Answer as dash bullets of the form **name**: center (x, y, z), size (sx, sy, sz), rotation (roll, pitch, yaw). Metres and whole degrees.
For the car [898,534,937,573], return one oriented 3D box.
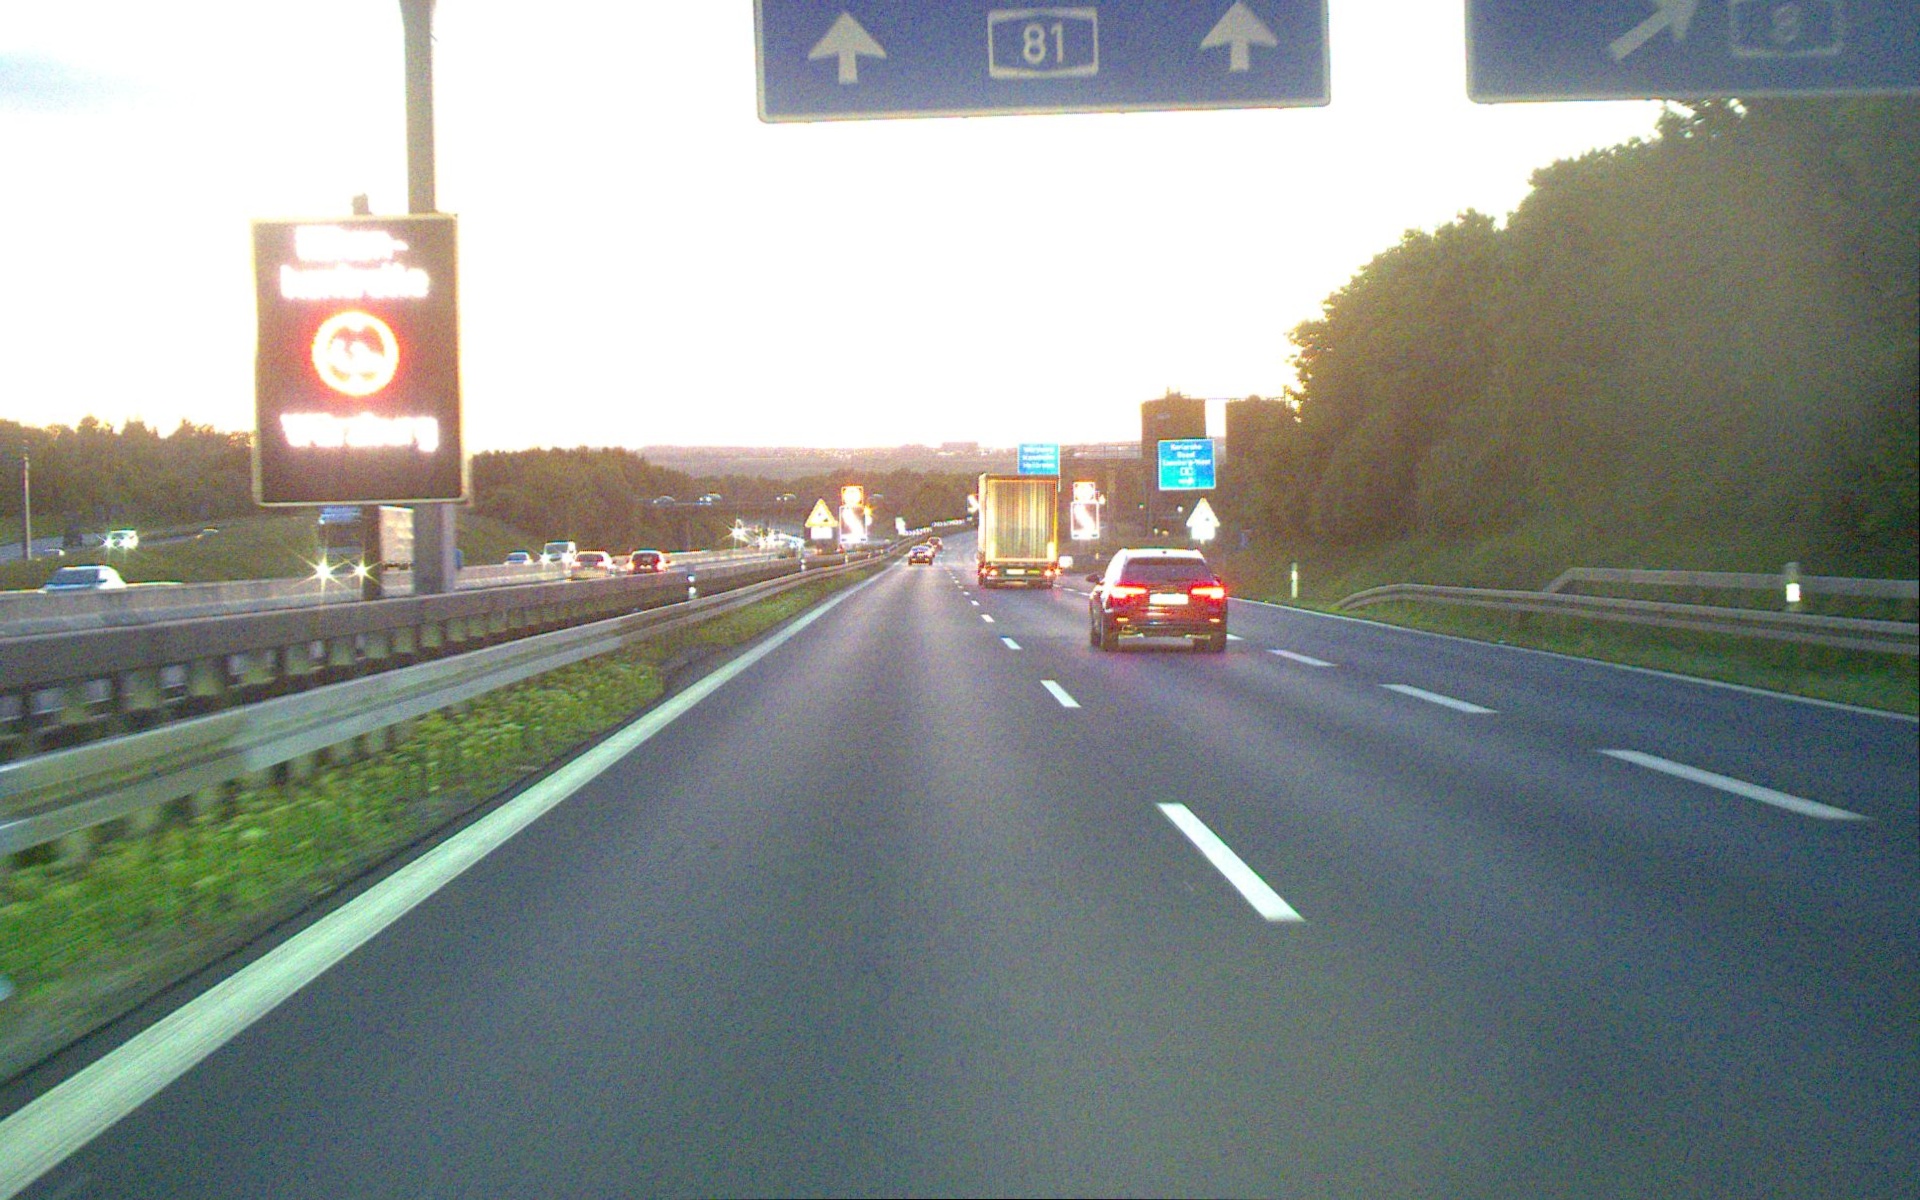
- **car**: center (-2.230, -2.455, 181.514), size (1.993, 2.007, 4.000), rotation (-2, 1, -1)

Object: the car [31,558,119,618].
- **car**: center (-26.507, -0.376, 103.070), size (1.682, 1.700, 3.752), rotation (0, 1, -1)

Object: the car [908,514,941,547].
- **car**: center (-2.279, -4.447, 219.721), size (1.993, 2.007, 4.000), rotation (-2, 1, -1)

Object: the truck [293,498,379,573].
- **truck**: center (-31.113, -3.187, 171.618), size (3.309, 3.607, 5.498), rotation (-2, 1, -1)

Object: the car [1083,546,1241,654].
- **car**: center (2.873, -0.023, 49.774), size (1.915, 1.437, 4.000), rotation (-2, 1, -1)

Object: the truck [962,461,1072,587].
- **truck**: center (1.984, -2.688, 124.361), size (3.509, 4.286, 9.892), rotation (-2, 1, -1)

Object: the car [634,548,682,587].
- **car**: center (-12.883, -1.391, 146.601), size (1.713, 1.600, 3.722), rotation (-2, 1, -1)

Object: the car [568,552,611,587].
- **car**: center (-17.177, -1.415, 159.502), size (1.638, 1.541, 3.395), rotation (-2, 1, 0)

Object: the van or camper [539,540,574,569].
- **van or camper**: center (-27.146, -3.099, 231.502), size (1.890, 1.900, 5.541), rotation (0, 1, -2)
